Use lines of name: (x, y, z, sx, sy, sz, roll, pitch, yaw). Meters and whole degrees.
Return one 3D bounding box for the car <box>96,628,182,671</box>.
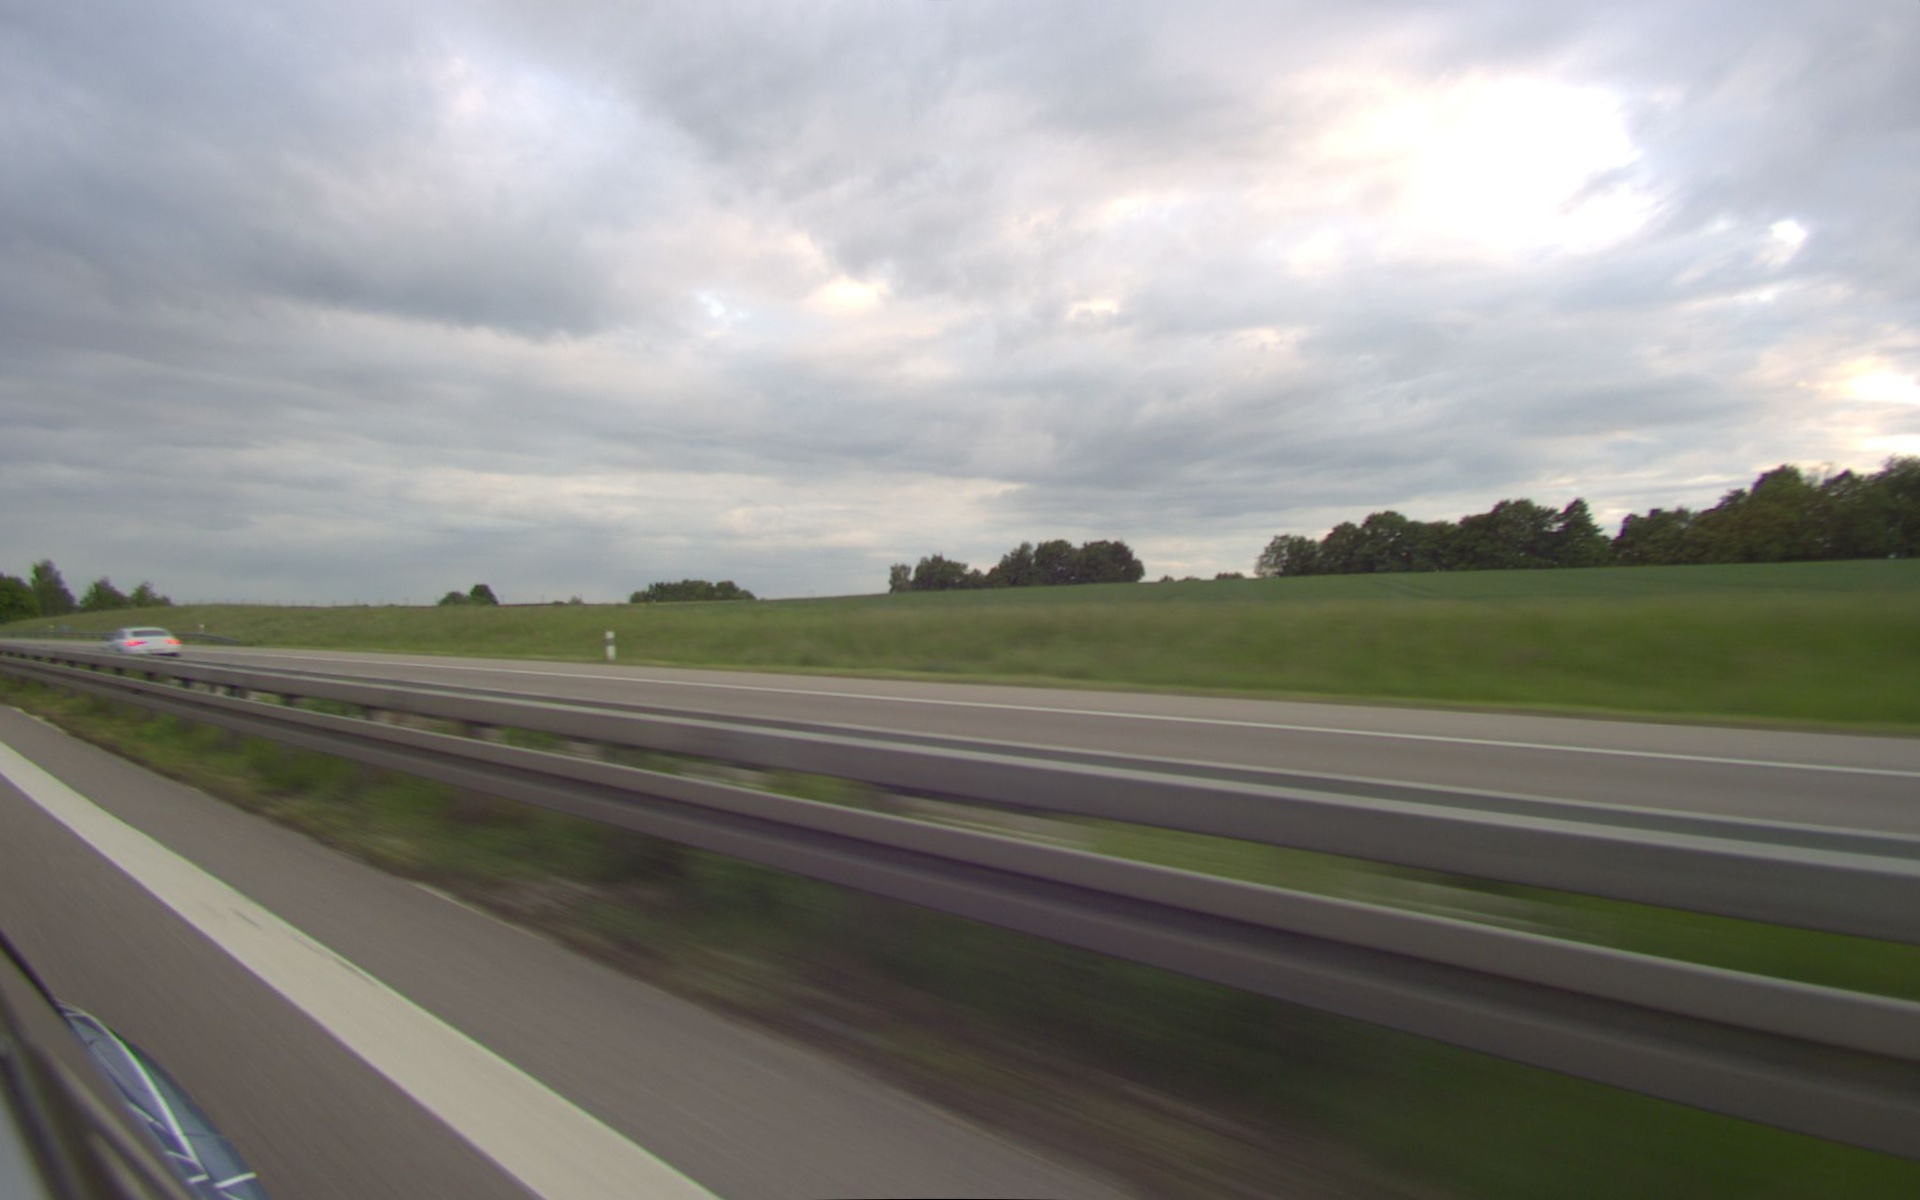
car: (-31.740, 1.856, 39.069, 4.927, 1.497, 1.711, -1, 0, 40)
